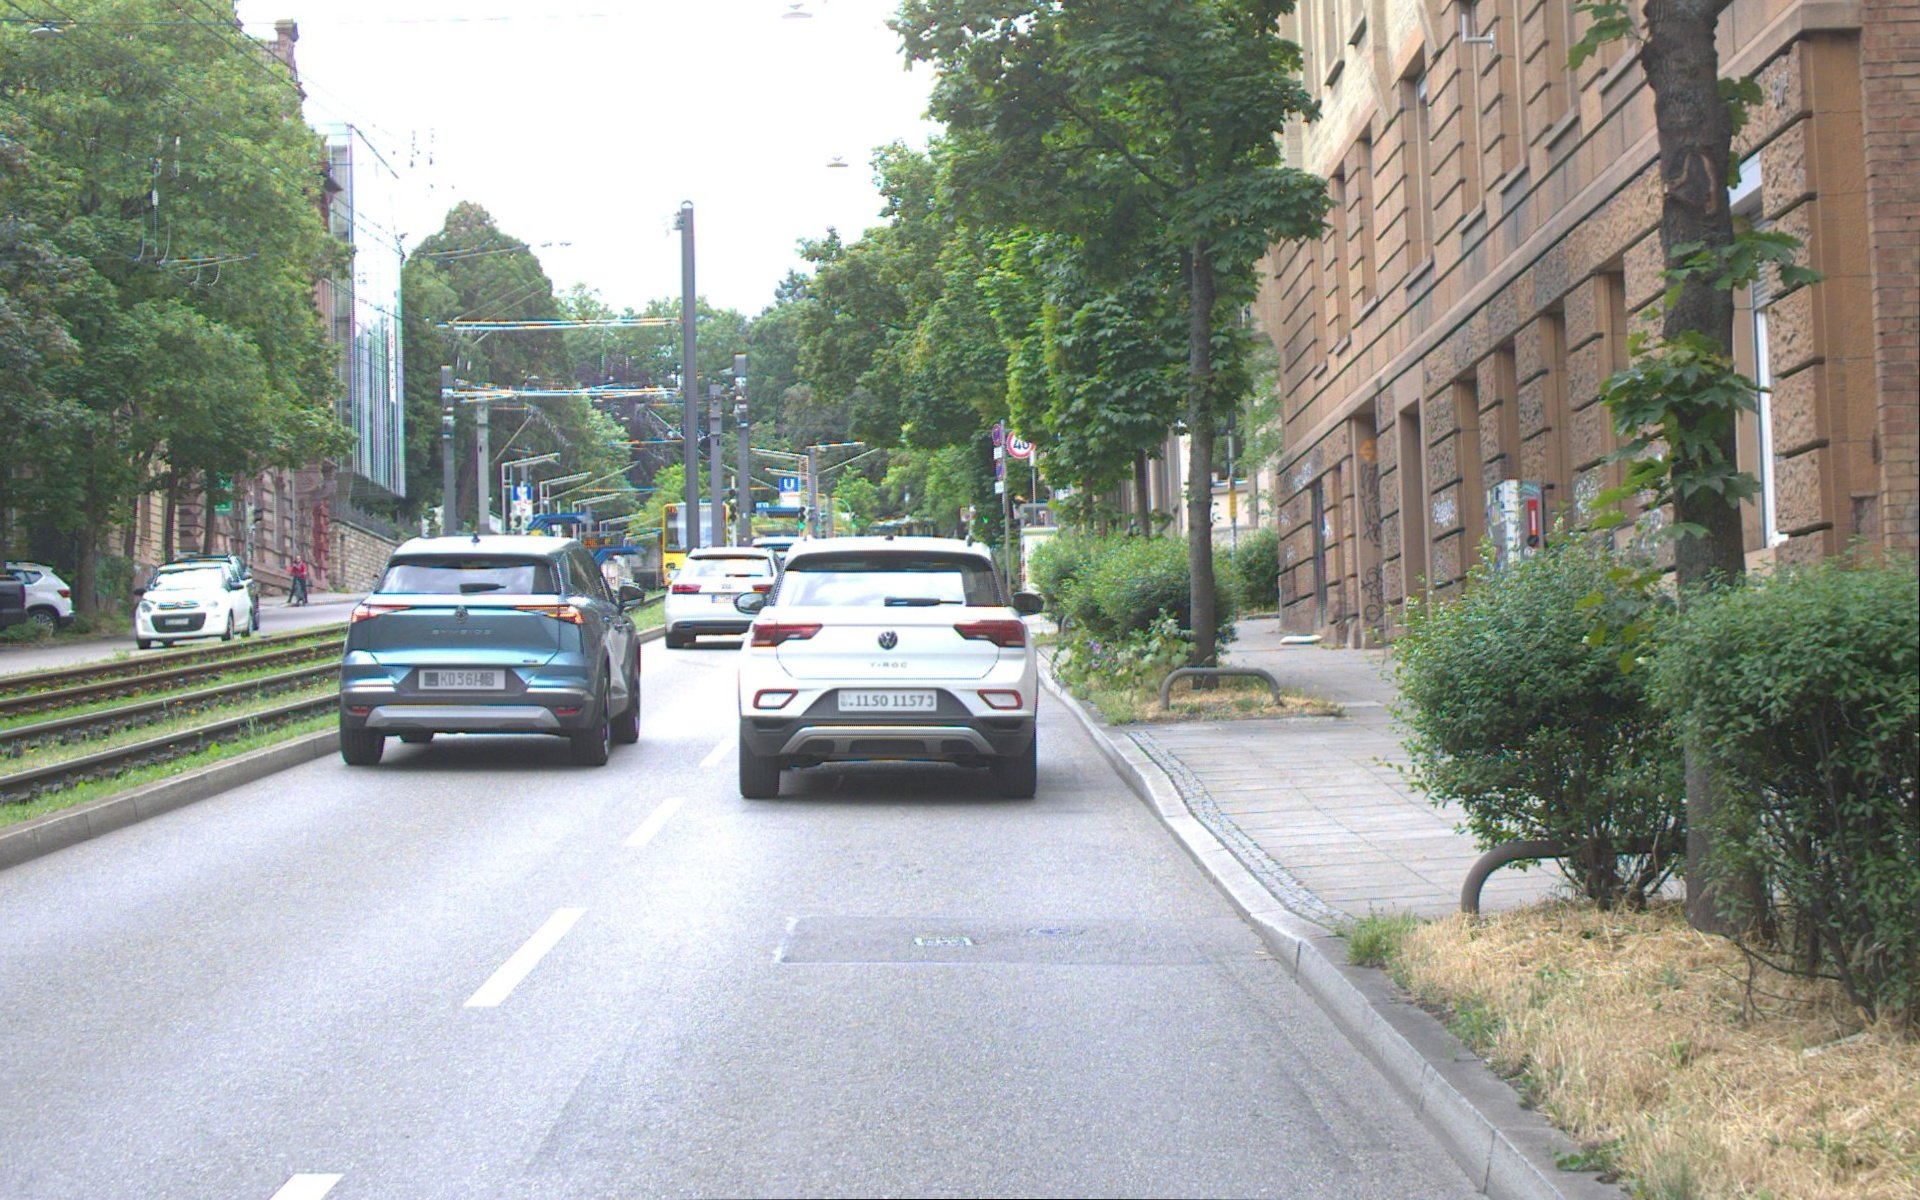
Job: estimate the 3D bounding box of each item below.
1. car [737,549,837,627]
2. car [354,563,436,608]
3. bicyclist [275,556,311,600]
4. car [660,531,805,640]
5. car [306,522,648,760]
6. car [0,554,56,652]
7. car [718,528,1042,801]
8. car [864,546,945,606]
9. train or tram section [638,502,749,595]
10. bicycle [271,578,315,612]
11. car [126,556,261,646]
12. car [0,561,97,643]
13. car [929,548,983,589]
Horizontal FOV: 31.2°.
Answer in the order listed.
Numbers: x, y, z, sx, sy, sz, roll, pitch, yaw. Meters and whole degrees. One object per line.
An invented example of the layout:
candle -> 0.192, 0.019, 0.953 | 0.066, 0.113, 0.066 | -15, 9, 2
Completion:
car -> -3.524, -0.270, 70.826 | 1.835, 1.541, 4.193 | 0, 1, 0
car -> -18.915, -0.496, 115.287 | 1.993, 1.398, 4.000 | -2, 1, 1
bicyclist -> -22.422, -0.740, 115.603 | 0.938, 1.420, 1.188 | -2, 1, 0
car -> -3.309, -0.231, 50.629 | 1.835, 1.541, 4.193 | 0, 1, 0
car -> -3.336, 0.241, 24.481 | 1.835, 1.541, 4.193 | 0, 1, 0
car -> -19.087, 0.061, 62.893 | 1.935, 1.791, 4.596 | 0, 1, 43
car -> -0.496, 0.339, 21.616 | 1.835, 1.541, 4.194 | 0, 1, -1
car -> -1.444, -0.652, 90.682 | 2.068, 1.541, 4.193 | 0, 1, 0
train or tram section -> -10.217, -1.983, 133.324 | 2.996, 3.337, 13.439 | -2, 1, 1
bicycle -> -22.404, -0.171, 115.568 | 0.938, 1.096, 2.703 | -2, 1, 0
car -> -13.450, 0.000, 60.457 | 1.588, 1.430, 3.413 | -3, 1, -1
car -> -19.870, 0.036, 68.912 | 4.593, 1.612, 1.936 | -1, 1, -34
car -> -0.152, -1.237, 133.843 | 2.068, 1.541, 4.193 | 0, 1, 0
